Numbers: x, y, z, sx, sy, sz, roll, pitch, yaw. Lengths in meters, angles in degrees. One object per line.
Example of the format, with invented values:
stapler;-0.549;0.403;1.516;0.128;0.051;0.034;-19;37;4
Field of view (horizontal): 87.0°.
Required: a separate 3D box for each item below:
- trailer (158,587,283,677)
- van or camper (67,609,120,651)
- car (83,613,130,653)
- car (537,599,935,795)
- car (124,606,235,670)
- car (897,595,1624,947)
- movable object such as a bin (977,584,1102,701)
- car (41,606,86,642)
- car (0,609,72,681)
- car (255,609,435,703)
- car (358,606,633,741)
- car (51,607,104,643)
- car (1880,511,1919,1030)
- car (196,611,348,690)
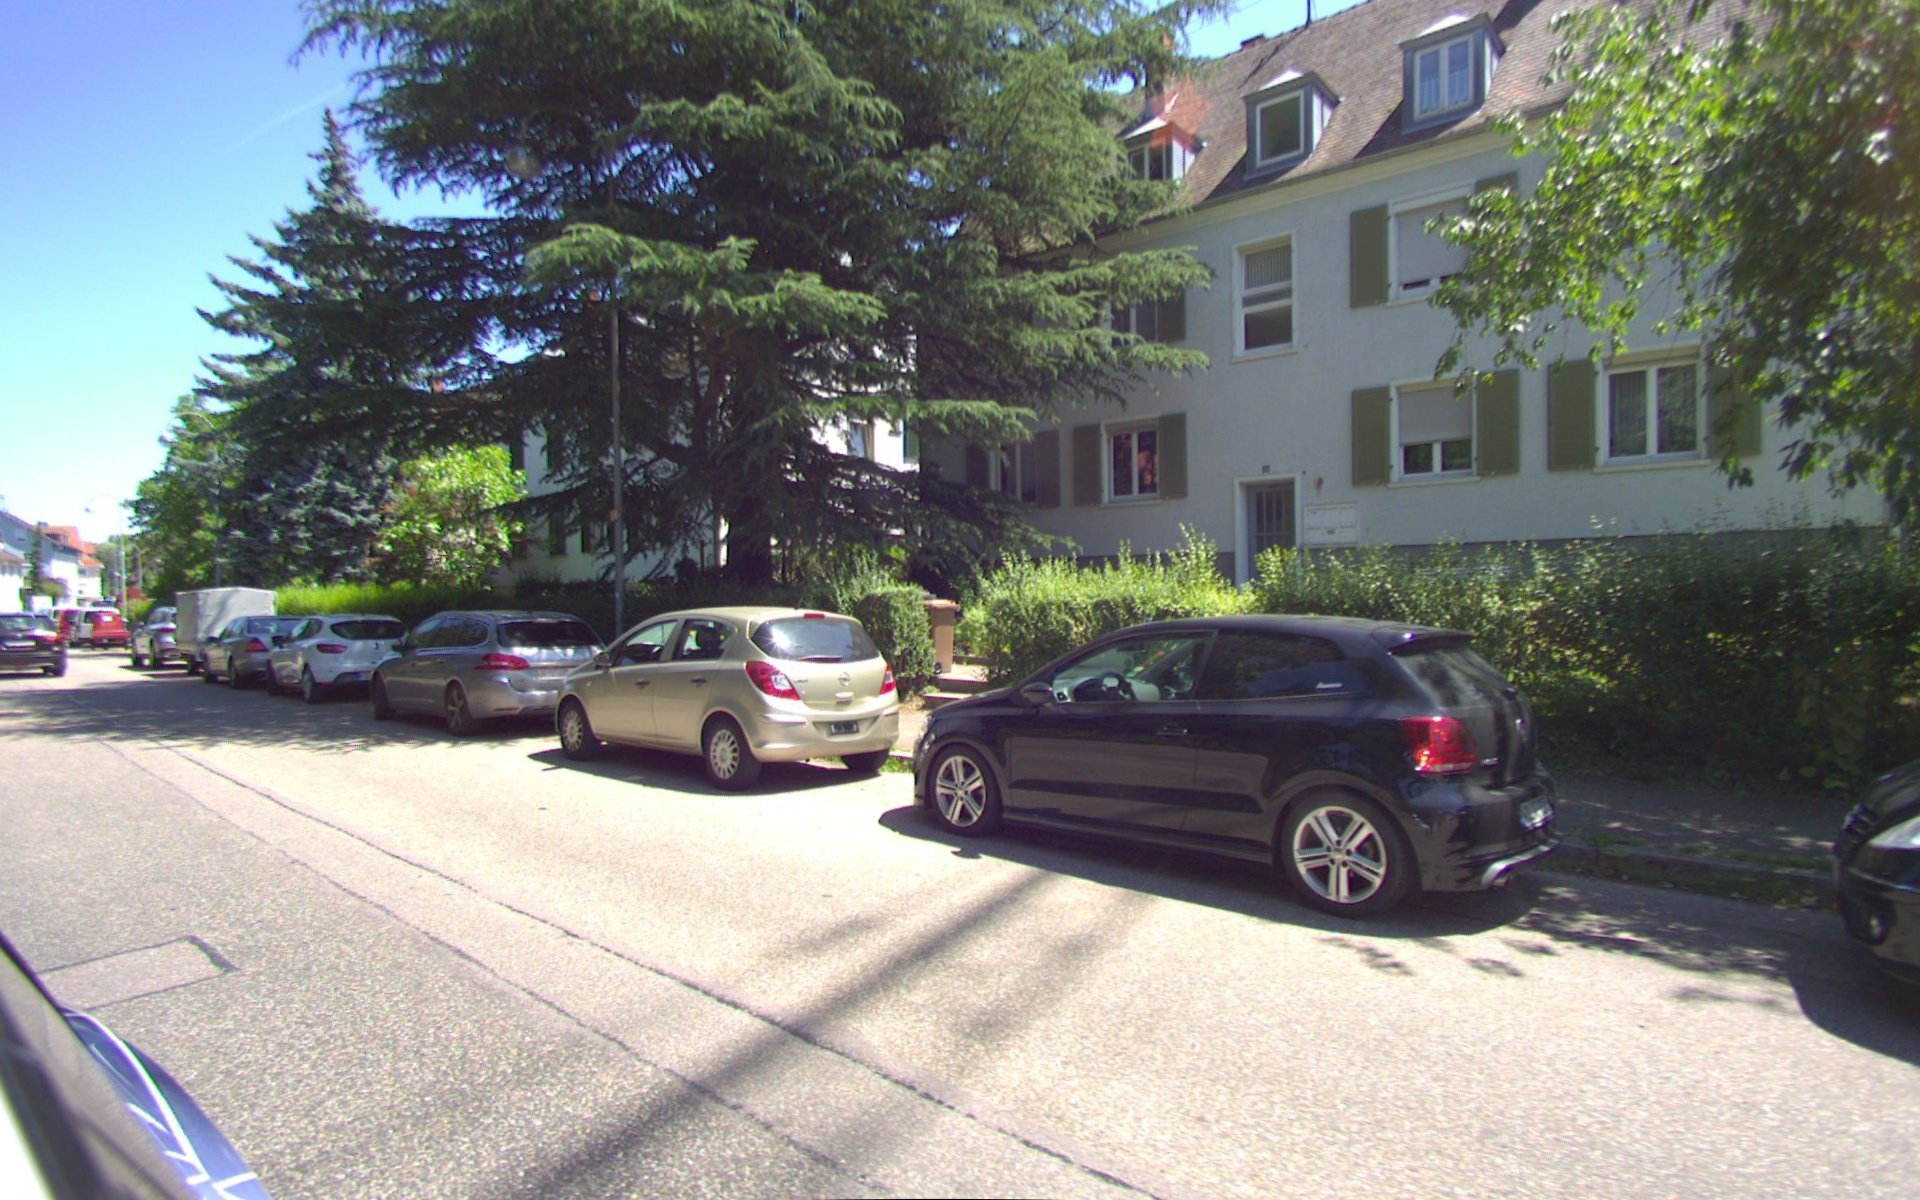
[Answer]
trailer;-18.392;0.775;25.117;4.000;2.049;1.794;-1;-2;43
van or camper;-38.701;1.306;45.170;1.561;1.784;3.891;0;-1;-44
car;-35.176;1.339;41.697;1.290;1.589;2.322;0;-1;-45
car;-2.206;0.752;9.454;3.784;1.453;1.777;-1;-1;42
car;-21.613;1.016;27.950;4.549;1.631;1.749;-1;-2;44
car;1.523;0.718;5.989;3.790;1.412;1.662;-1;-1;44
movable object such as a bin;0.903;0.448;11.211;0.968;1.209;1.286;-1;-1;26
car;-54.926;1.442;61.979;1.866;2.131;4.002;2;-2;-44
car;-22.812;1.043;24.177;4.139;1.586;1.879;-1;0;41
car;-10.780;0.901;17.638;3.898;1.453;1.776;-1;-1;44
car;-6.090;0.827;13.024;4.273;1.453;1.776;-1;-1;44
car;-45.454;1.283;52.122;1.866;1.772;3.615;2;-2;-44
car;5.013;0.526;2.635;3.787;1.652;1.664;-1;-1;41
car;-14.342;0.971;20.992;4.478;1.453;1.776;-1;-1;44
